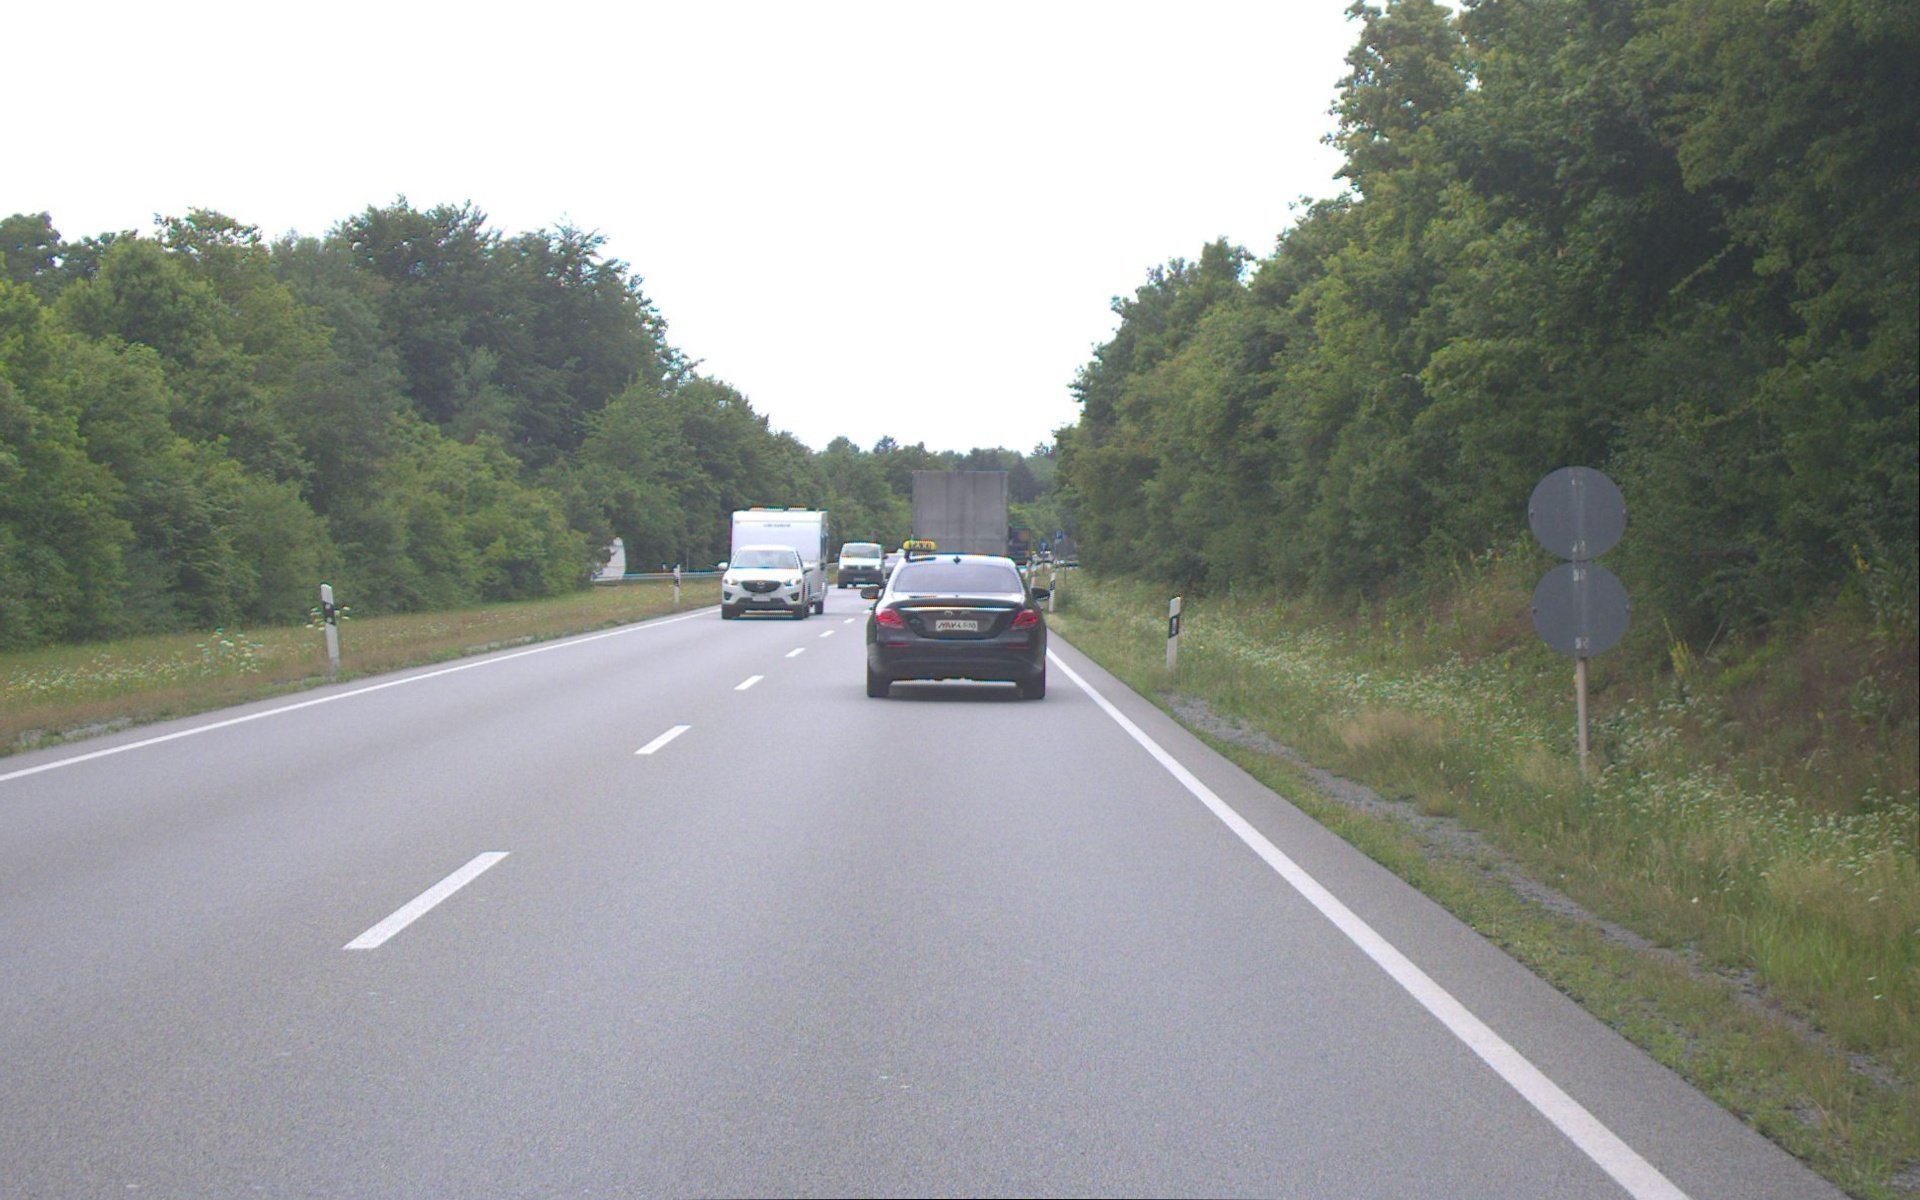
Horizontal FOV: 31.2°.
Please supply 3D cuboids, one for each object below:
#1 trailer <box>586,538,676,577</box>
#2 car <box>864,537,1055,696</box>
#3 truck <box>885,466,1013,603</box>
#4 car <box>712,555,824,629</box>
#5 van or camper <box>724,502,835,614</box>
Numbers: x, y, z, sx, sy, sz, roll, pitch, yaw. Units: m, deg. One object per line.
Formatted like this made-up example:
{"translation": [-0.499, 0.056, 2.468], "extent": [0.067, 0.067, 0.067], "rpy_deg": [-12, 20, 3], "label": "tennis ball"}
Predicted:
{"translation": [-17.352, -2.251, 181.521], "extent": [1.997, 2.007, 5.113], "rpy_deg": [1, 1, 33], "label": "trailer"}
{"translation": [-0.060, 0.138, 35.956], "extent": [1.791, 1.546, 4.000], "rpy_deg": [1, 1, -3], "label": "car"}
{"translation": [-0.205, -1.799, 96.922], "extent": [3.281, 3.599, 11.399], "rpy_deg": [1, 1, 1], "label": "truck"}
{"translation": [-4.307, -0.197, 77.874], "extent": [2.279, 1.598, 4.692], "rpy_deg": [1, 1, 0], "label": "car"}
{"translation": [-4.341, -1.019, 83.499], "extent": [2.380, 2.566, 6.280], "rpy_deg": [1, 1, 0], "label": "van or camper"}
